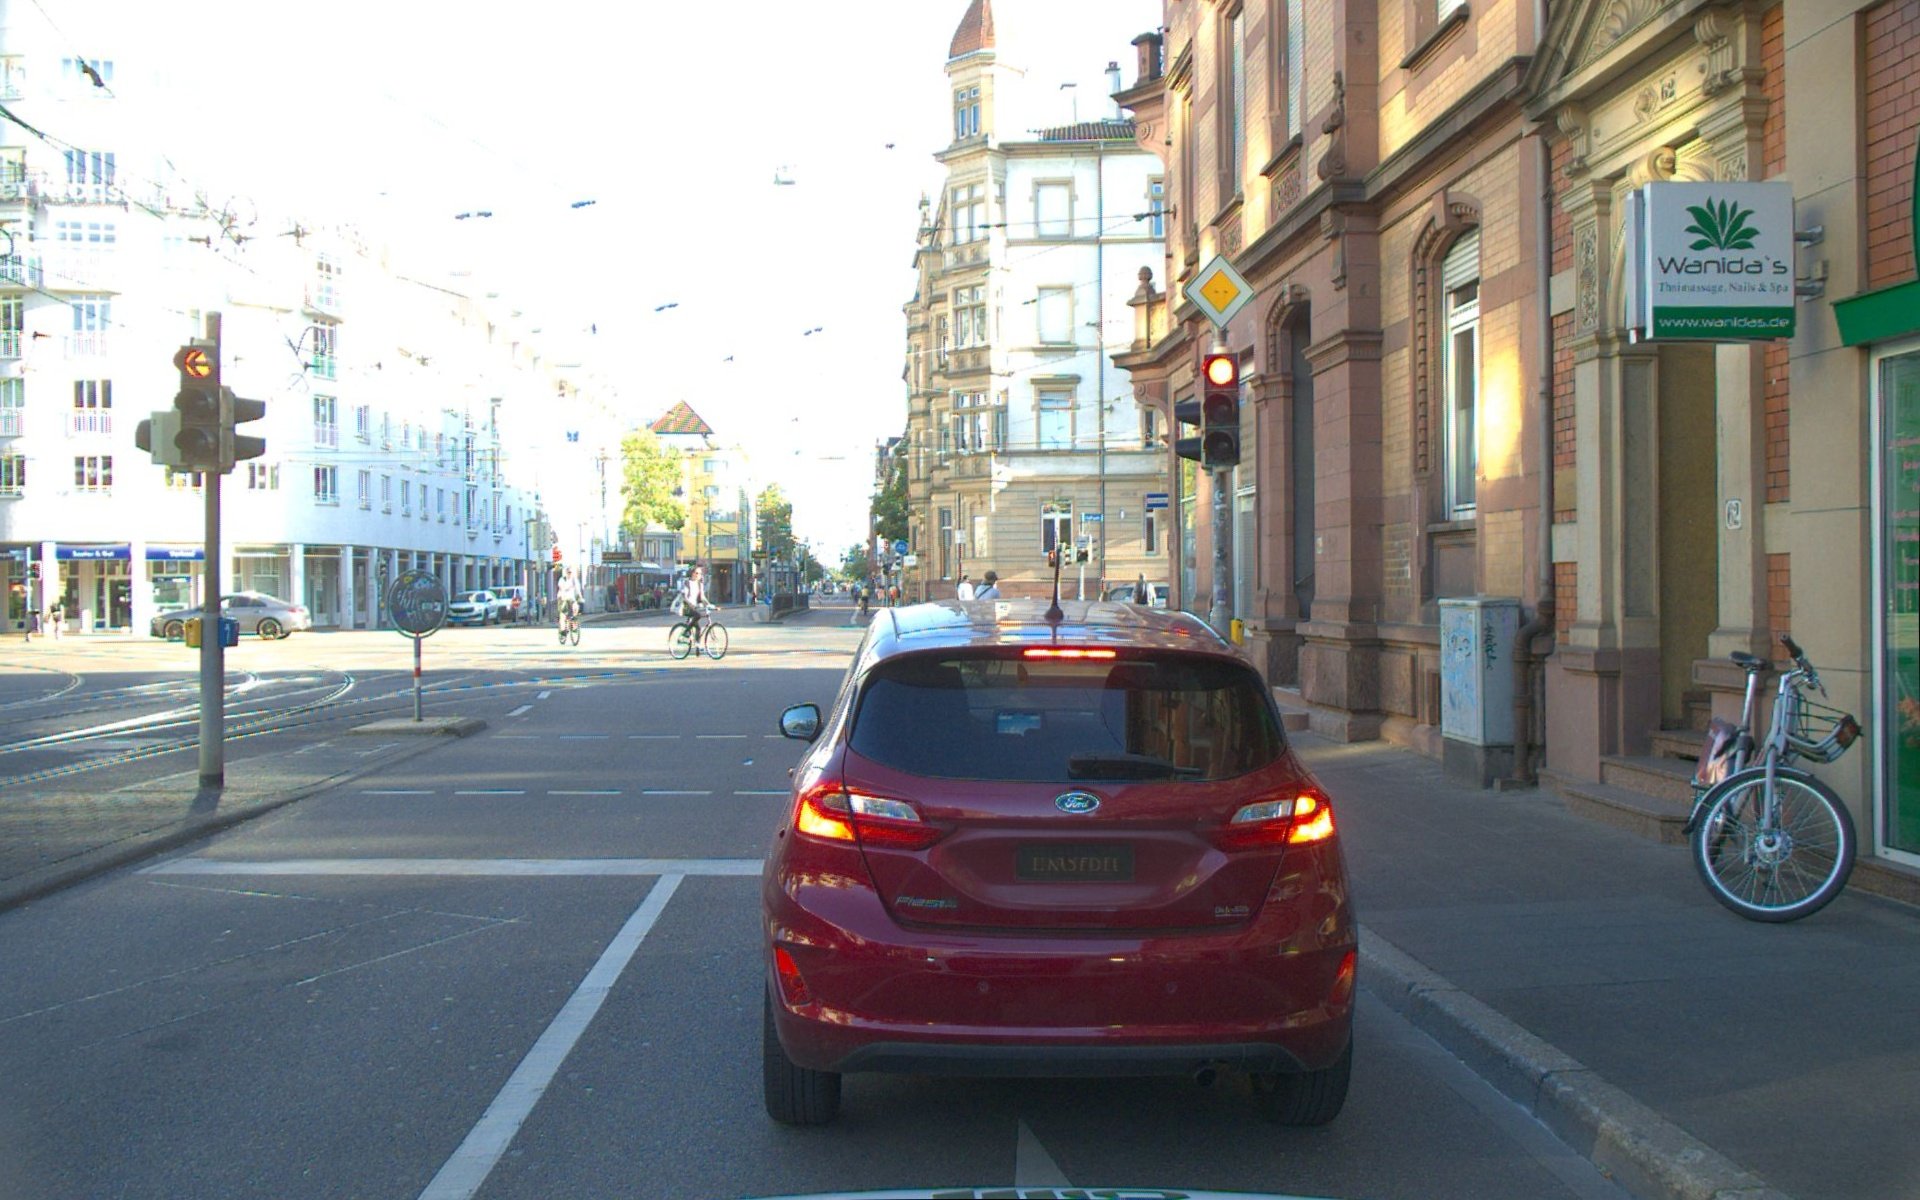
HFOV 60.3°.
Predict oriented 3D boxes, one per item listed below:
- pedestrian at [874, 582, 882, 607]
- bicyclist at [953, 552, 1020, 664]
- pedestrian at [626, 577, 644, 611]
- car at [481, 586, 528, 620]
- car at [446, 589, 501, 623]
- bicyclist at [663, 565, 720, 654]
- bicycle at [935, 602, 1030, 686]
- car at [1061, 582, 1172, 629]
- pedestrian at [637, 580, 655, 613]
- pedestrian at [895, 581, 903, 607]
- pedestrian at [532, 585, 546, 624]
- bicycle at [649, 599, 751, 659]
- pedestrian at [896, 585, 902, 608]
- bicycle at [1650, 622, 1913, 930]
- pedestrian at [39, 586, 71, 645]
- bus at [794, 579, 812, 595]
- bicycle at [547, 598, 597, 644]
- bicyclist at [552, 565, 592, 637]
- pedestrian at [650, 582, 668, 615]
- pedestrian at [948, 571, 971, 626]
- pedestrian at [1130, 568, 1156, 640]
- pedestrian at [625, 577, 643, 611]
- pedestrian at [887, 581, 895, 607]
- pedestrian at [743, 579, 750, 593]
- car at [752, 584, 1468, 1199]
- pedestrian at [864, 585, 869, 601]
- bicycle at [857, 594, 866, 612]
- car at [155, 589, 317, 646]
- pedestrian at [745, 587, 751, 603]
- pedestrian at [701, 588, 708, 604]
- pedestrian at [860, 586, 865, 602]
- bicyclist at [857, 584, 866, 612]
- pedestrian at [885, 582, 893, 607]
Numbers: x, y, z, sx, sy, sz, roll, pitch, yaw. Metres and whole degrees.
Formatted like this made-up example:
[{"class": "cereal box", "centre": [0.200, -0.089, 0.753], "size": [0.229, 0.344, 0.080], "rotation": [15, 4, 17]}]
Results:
[{"class": "pedestrian", "centre": [-6.747, -0.465, 136.605], "size": [0.565, 2.049, 0.631], "rotation": [-1, 0, 2]}, {"class": "bicyclist", "centre": [0.404, 0.120, 25.060], "size": [0.748, 1.655, 0.731], "rotation": [1, 0, 26]}, {"class": "pedestrian", "centre": [-20.162, -0.372, 102.616], "size": [1.025, 2.049, 0.958], "rotation": [-1, 0, -6]}, {"class": "car", "centre": [-23.928, 0.146, 86.912], "size": [1.667, 1.748, 3.561], "rotation": [-1, 0, -4]}, {"class": "car", "centre": [-23.361, 0.290, 79.549], "size": [1.730, 1.573, 3.459], "rotation": [-1, 0, -3]}, {"class": "bicyclist", "centre": [-5.425, 0.185, 33.452], "size": [0.777, 1.756, 0.808], "rotation": [-1, 0, 32]}, {"class": "bicycle", "centre": [0.357, 0.643, 24.897], "size": [0.614, 1.198, 2.023], "rotation": [1, 0, 26]}, {"class": "car", "centre": [5.462, 0.177, 58.085], "size": [3.815, 1.576, 1.455], "rotation": [-1, 0, 2]}, {"class": "pedestrian", "centre": [-19.860, -0.239, 104.541], "size": [1.025, 2.049, 0.958], "rotation": [-1, 0, -6]}, {"class": "pedestrian", "centre": [-4.938, -0.482, 134.406], "size": [0.565, 2.049, 0.631], "rotation": [-1, 0, 2]}, {"class": "pedestrian", "centre": [-18.589, 0.211, 73.040], "size": [0.513, 1.711, 0.486], "rotation": [-1, 0, -1]}, {"class": "bicycle", "centre": [-5.248, 0.581, 33.342], "size": [2.006, 1.167, 0.808], "rotation": [-1, 0, 32]}, {"class": "pedestrian", "centre": [-4.531, -0.279, 122.417], "size": [0.405, 1.710, 0.484], "rotation": [-1, 0, -1]}, {"class": "bicycle", "centre": [3.634, 0.725, 7.458], "size": [0.700, 1.172, 1.656], "rotation": [-2, 0, 15]}, {"class": "pedestrian", "centre": [-31.882, 0.534, 58.281], "size": [0.934, 2.049, 0.930], "rotation": [-1, 0, -31]}, {"class": "bus", "centre": [-20.543, -1.714, 216.545], "size": [1.887, 2.049, 7.134], "rotation": [-1, 0, -2]}, {"class": "bicycle", "centre": [-10.174, 0.528, 43.295], "size": [0.798, 1.167, 1.992], "rotation": [-1, 0, -27]}, {"class": "bicyclist", "centre": [-10.143, 0.027, 43.218], "size": [0.798, 1.853, 0.984], "rotation": [-1, 0, -28]}, {"class": "pedestrian", "centre": [-18.674, -0.110, 102.699], "size": [1.025, 2.049, 0.958], "rotation": [-1, 0, -6]}, {"class": "pedestrian", "centre": [-0.019, -0.052, 62.673], "size": [0.642, 2.049, 0.755], "rotation": [-1, 0, -22]}, {"class": "pedestrian", "centre": [4.610, 0.093, 41.719], "size": [0.549, 1.786, 0.650], "rotation": [-1, 0, -1]}, {"class": "pedestrian", "centre": [-19.769, -0.354, 100.269], "size": [0.937, 2.049, 1.048], "rotation": [-1, 0, -4]}, {"class": "pedestrian", "centre": [-5.463, -0.458, 131.828], "size": [0.565, 2.049, 0.631], "rotation": [-1, 0, 2]}, {"class": "pedestrian", "centre": [-25.335, -1.685, 196.384], "size": [0.619, 1.632, 0.575], "rotation": [-1, 0, -20]}, {"class": "car", "centre": [0.201, 0.710, 5.917], "size": [1.720, 1.492, 3.941], "rotation": [1, 0, -5]}, {"class": "pedestrian", "centre": [-11.338, -0.799, 200.361], "size": [0.565, 1.920, 0.630], "rotation": [-1, 0, -3]}, {"class": "bicycle", "centre": [-5.927, 0.175, 99.672], "size": [0.515, 1.108, 1.486], "rotation": [-1, 0, -1]}, {"class": "car", "centre": [-22.546, 0.519, 51.653], "size": [4.367, 1.669, 1.698], "rotation": [-1, 0, -13]}, {"class": "pedestrian", "centre": [-20.626, -0.473, 160.818], "size": [0.513, 1.514, 0.582], "rotation": [-1, 0, -2]}, {"class": "pedestrian", "centre": [-25.191, -0.397, 163.084], "size": [0.569, 1.514, 0.525], "rotation": [-1, 0, -5]}, {"class": "pedestrian", "centre": [-12.008, -0.750, 203.527], "size": [0.565, 1.920, 0.669], "rotation": [-1, 0, -3]}, {"class": "bicyclist", "centre": [-5.931, -0.121, 99.587], "size": [0.489, 1.705, 0.545], "rotation": [-1, 0, -2]}, {"class": "pedestrian", "centre": [-5.852, -0.488, 136.709], "size": [0.565, 2.049, 0.631], "rotation": [-1, 0, 2]}]
